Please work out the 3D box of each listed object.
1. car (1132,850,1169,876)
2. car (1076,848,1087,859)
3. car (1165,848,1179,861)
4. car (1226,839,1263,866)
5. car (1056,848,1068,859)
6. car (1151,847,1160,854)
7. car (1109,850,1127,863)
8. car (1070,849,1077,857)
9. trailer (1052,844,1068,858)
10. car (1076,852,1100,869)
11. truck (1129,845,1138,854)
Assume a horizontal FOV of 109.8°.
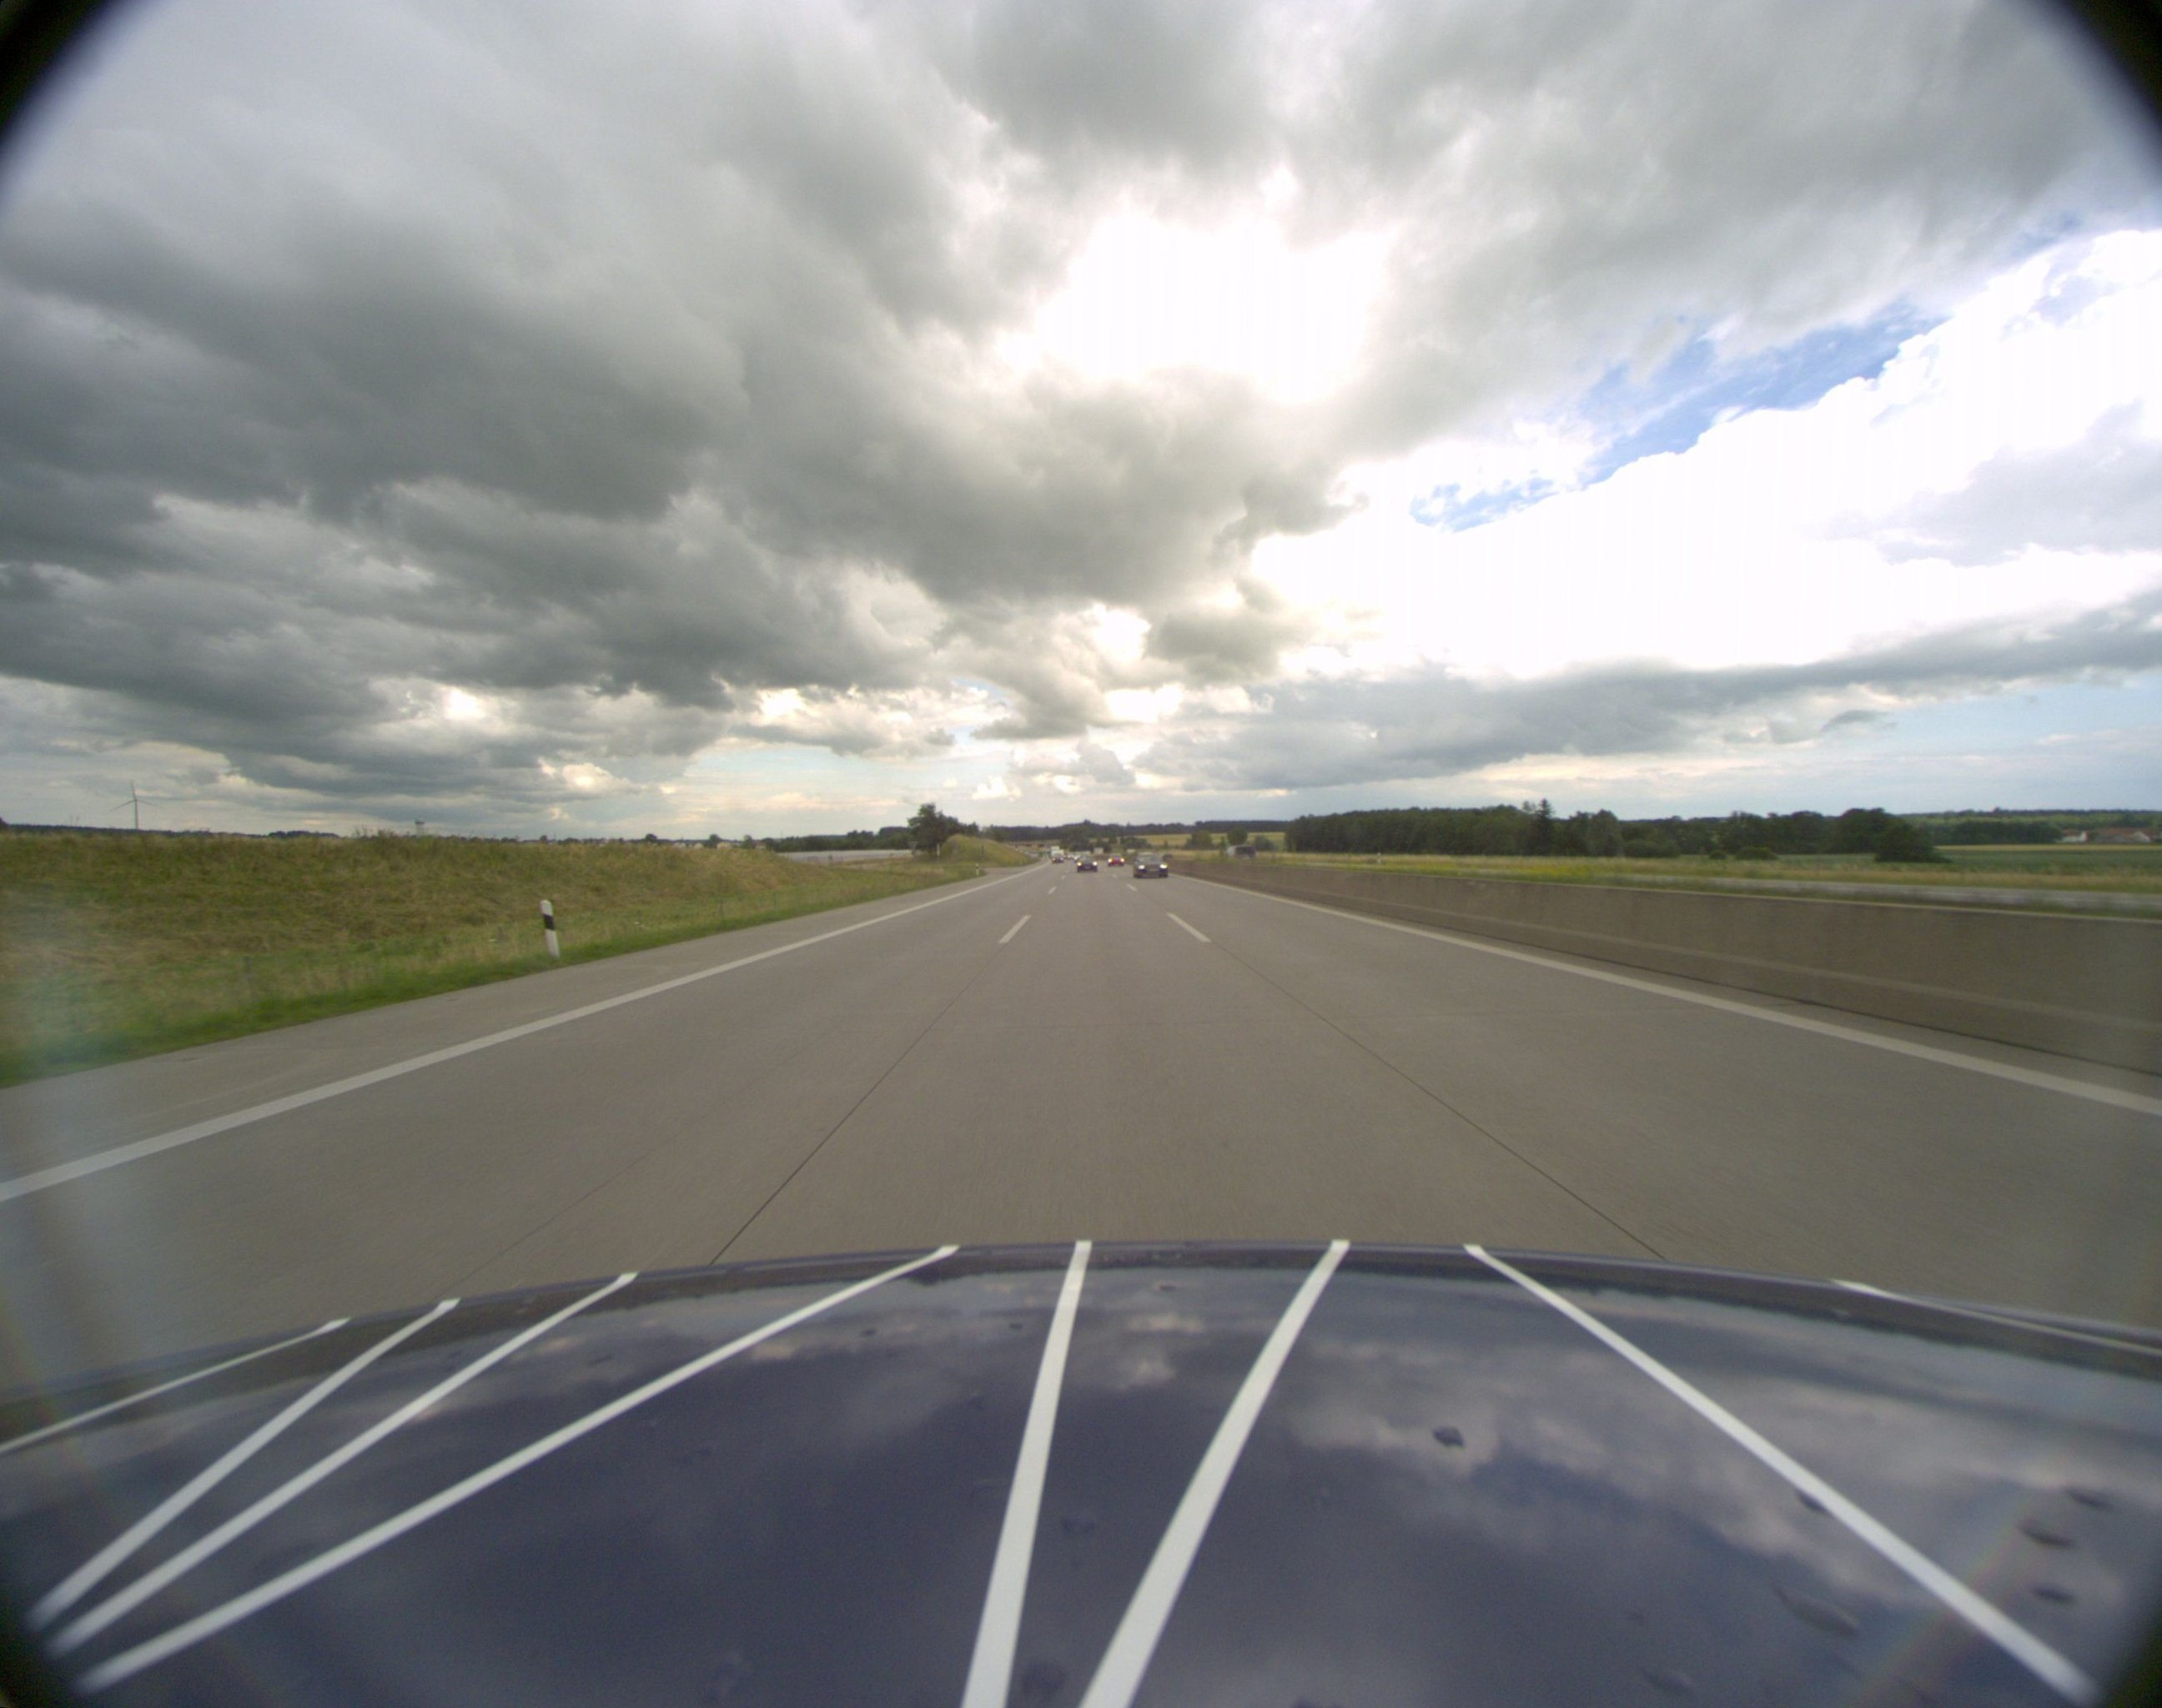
[{"bbox_3d":[4.203,0.523,46.255,1.939,1.464,4.000,-2,0,1],"label":"car"},{"bbox_3d":[0.068,-0.131,137.273,1.998,2.002,3.999,-2,0,0],"label":"car"},{"bbox_3d":[13.037,0.107,108.900,1.554,1.638,3.258,-2,2,0],"label":"car"},{"bbox_3d":[13.154,-0.096,61.504,1.998,2.002,4.630,-2,0,0],"label":"car"},{"bbox_3d":[-3.592,-0.098,140.794,1.944,1.799,5.029,-2,1,-4],"label":"car"},{"bbox_3d":[18.277,-0.826,186.804,1.753,1.631,4.943,-2,0,0],"label":"car"},{"bbox_3d":[4.246,0.276,87.548,1.822,1.364,3.782,-3,1,0],"label":"car"},{"bbox_3d":[-2.066,-0.304,206.848,1.810,2.002,3.841,-3,1,-3],"label":"car"},{"bbox_3d":[-4.049,-0.543,146.636,2.616,2.520,6.718,-2,1,-4],"label":"trailer"},{"bbox_3d":[0.560,0.534,65.191,1.691,1.405,3.998,-2,1,-4],"label":"car"},{"bbox_3d":[16.476,-1.469,238.595,2.150,2.552,7.445,-2,1,-1],"label":"truck"}]
